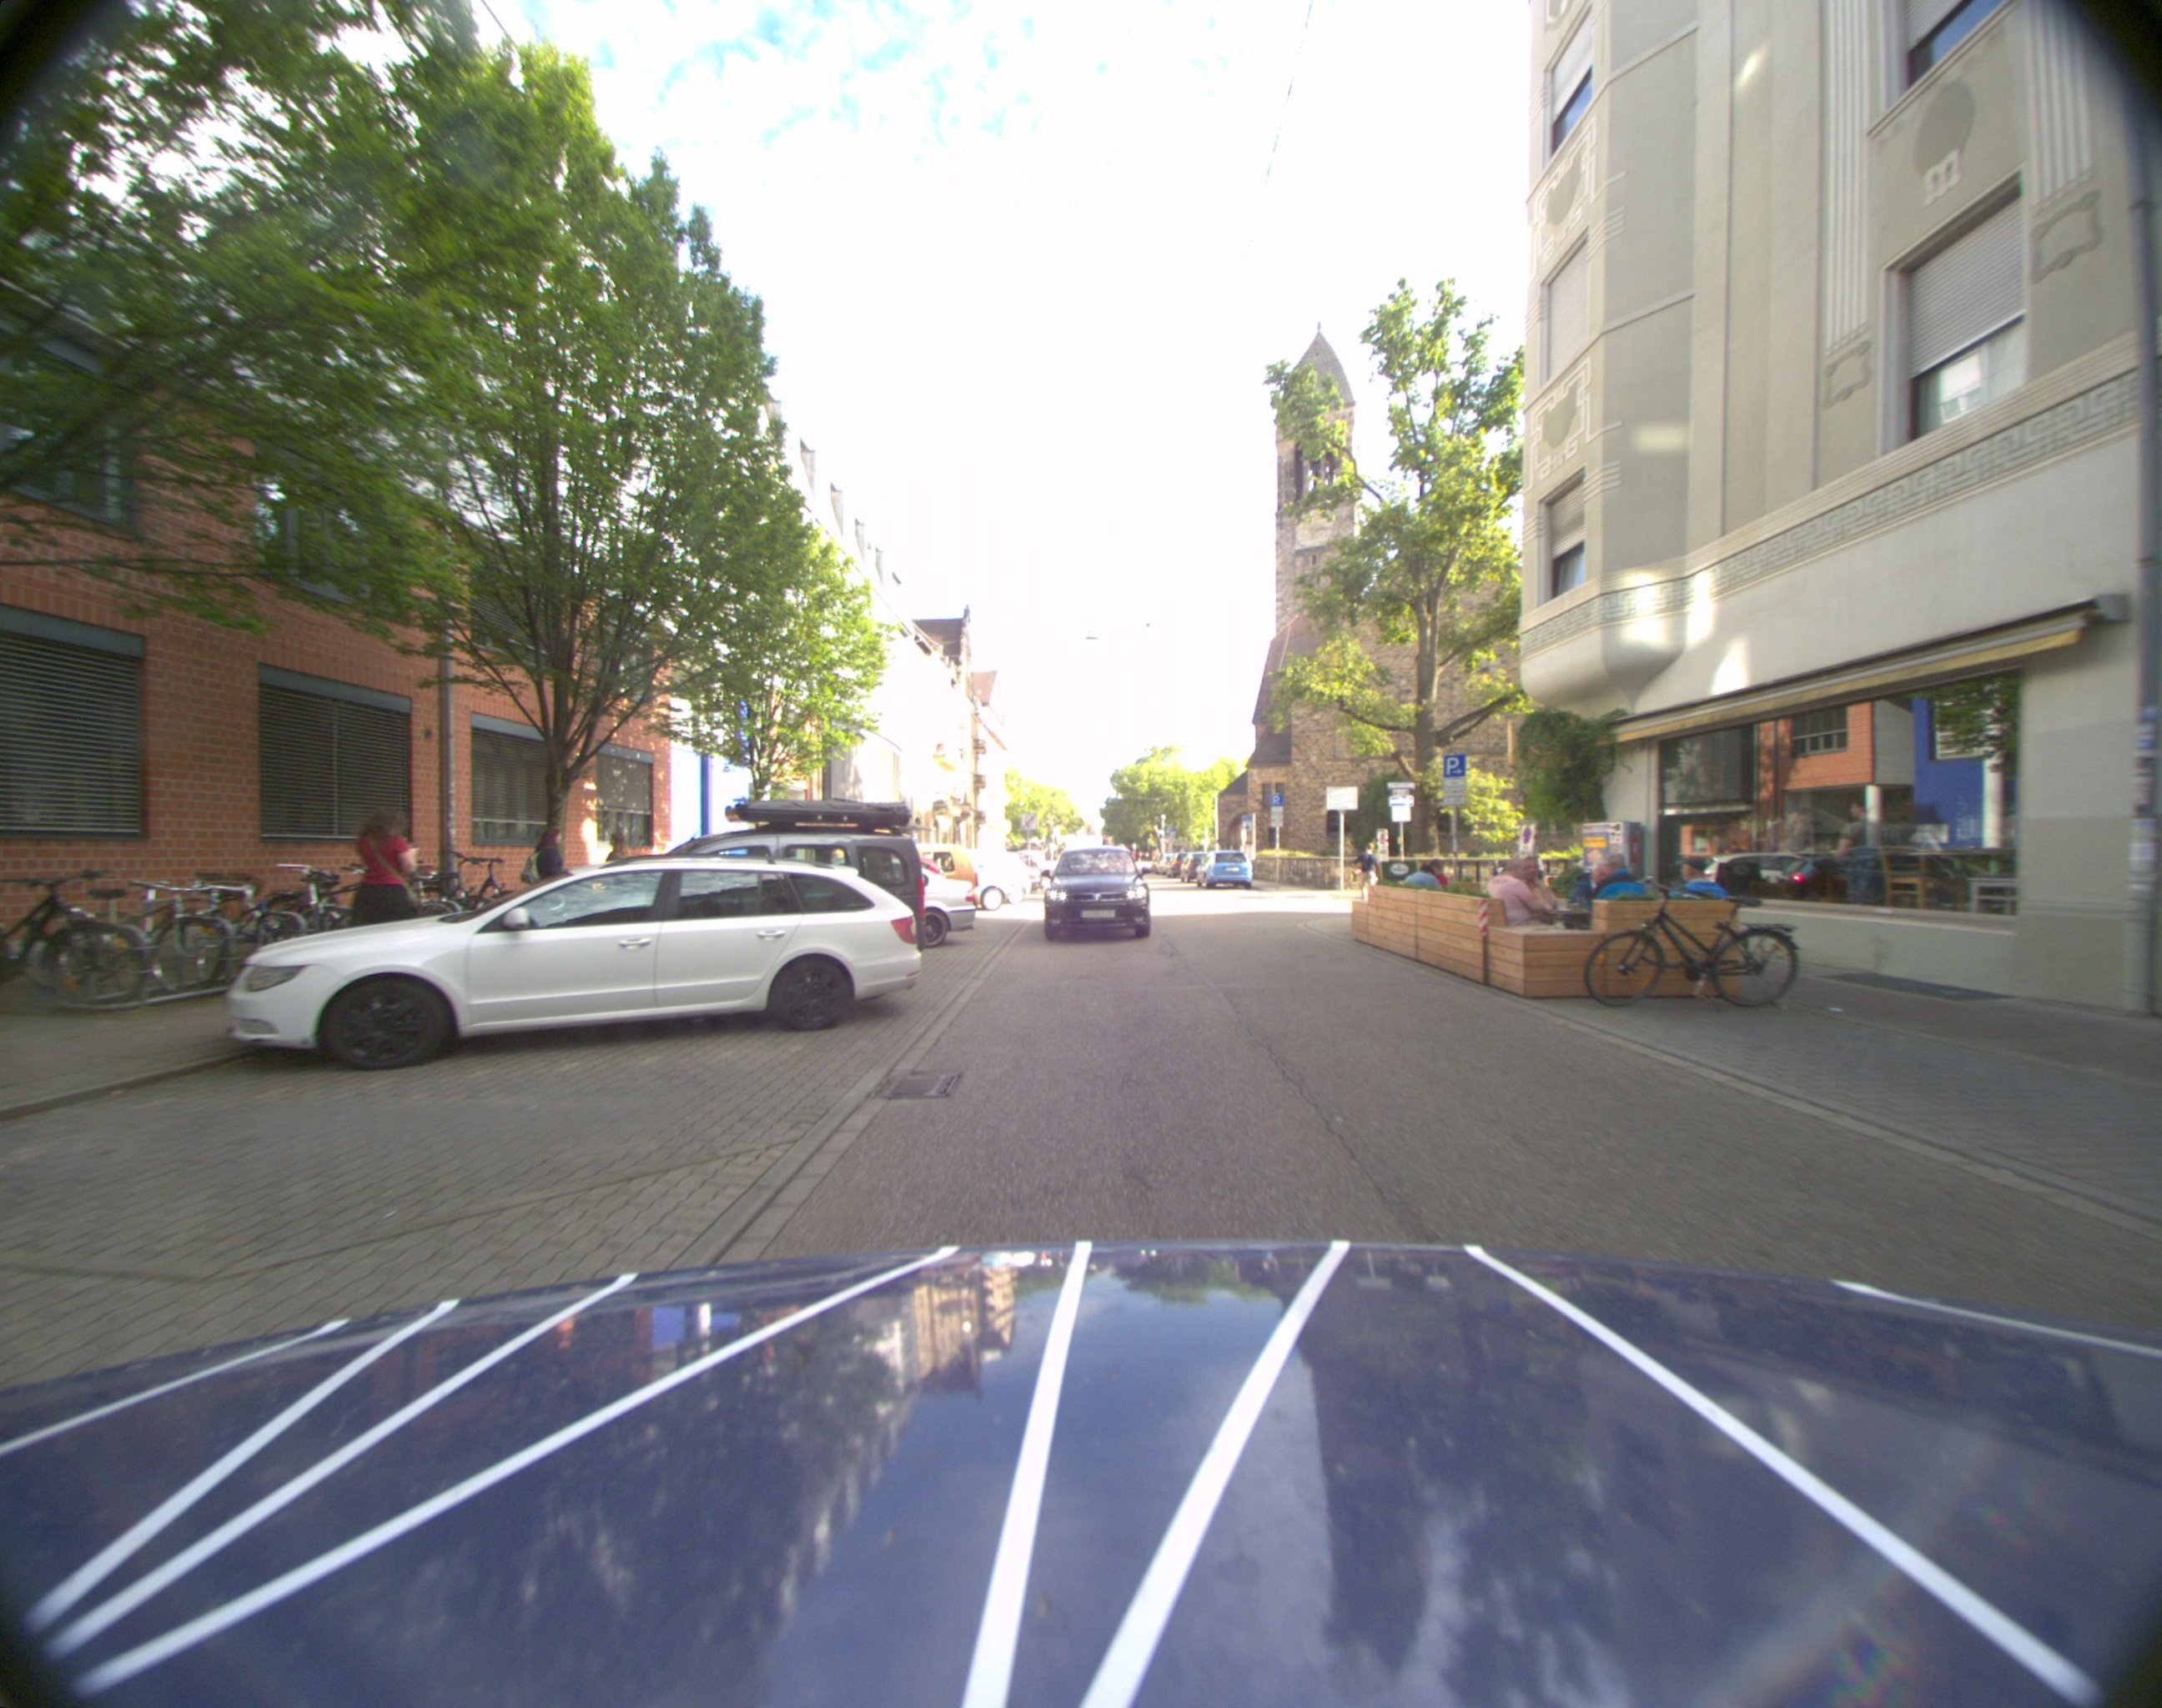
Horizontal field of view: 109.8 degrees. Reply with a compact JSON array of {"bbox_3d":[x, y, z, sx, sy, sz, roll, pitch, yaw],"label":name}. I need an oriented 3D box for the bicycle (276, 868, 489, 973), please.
[{"bbox_3d":[-8.333,0.775,9.115,1.896,1.096,0.618,3,1,-2],"label":"bicycle"}]

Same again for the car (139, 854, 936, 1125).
[{"bbox_3d":[-3.882,0.842,6.454,4.817,1.535,1.866,1,1,-31],"label":"car"}]

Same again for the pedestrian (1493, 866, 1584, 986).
[{"bbox_3d":[5.367,0.822,8.947,0.668,1.328,0.740,-1,1,8],"label":"pedestrian"}]

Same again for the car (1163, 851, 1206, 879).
[{"bbox_3d":[5.744,0.593,42.574,1.911,1.412,4.000,-1,1,1],"label":"car"}]

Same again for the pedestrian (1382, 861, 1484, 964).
[{"bbox_3d":[4.955,0.806,10.758,1.088,1.365,0.895,-1,1,9],"label":"pedestrian"}]

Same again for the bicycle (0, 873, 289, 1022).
[{"bbox_3d":[-8.249,0.788,6.650,1.896,1.125,0.618,3,1,-2],"label":"bicycle"}]

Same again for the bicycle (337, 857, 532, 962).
[{"bbox_3d":[-8.260,0.689,9.758,1.896,1.198,0.618,3,1,-2],"label":"bicycle"}]

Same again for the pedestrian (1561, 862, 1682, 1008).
[{"bbox_3d":[5.353,0.777,7.571,0.689,1.365,0.739,-1,1,4],"label":"pedestrian"}]

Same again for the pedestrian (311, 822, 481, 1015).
[{"bbox_3d":[-6.629,0.590,7.417,0.754,1.729,0.952,3,1,-4],"label":"pedestrian"}]

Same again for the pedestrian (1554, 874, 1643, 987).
[{"bbox_3d":[5.988,0.868,8.831,0.597,1.236,0.694,-1,1,8],"label":"pedestrian"}]

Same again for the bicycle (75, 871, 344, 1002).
[{"bbox_3d":[-8.267,0.767,7.250,1.887,1.112,0.537,2,1,-2],"label":"bicycle"}]

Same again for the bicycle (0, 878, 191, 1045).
[{"bbox_3d":[-8.285,0.796,5.906,1.921,1.134,0.618,3,1,-2],"label":"bicycle"}]

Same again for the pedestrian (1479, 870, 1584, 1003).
[{"bbox_3d":[4.814,0.858,8.158,0.738,1.341,0.644,-1,1,3],"label":"pedestrian"}]

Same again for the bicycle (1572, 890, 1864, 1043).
[{"bbox_3d":[5.350,0.930,6.468,1.872,1.168,0.688,-1,1,3],"label":"bicycle"}]

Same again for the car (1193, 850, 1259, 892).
[{"bbox_3d":[5.647,0.630,30.108,1.828,1.477,4.170,-1,1,1],"label":"car"}]

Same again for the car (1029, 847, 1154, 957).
[{"bbox_3d":[0.335,0.726,13.869,1.874,1.644,4.388,-1,1,5],"label":"car"}]

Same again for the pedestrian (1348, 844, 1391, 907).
[{"bbox_3d":[8.012,0.596,21.141,0.845,1.699,0.879,-1,1,1],"label":"pedestrian"}]

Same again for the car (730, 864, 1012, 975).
[{"bbox_3d":[-3.290,0.917,12.104,4.006,1.391,1.657,-2,1,-31],"label":"car"}]

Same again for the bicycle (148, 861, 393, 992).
[{"bbox_3d":[-8.314,0.724,7.847,1.782,1.198,0.618,3,1,-2],"label":"bicycle"}]

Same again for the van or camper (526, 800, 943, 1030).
[{"bbox_3d":[-3.921,0.527,8.994,4.006,2.166,1.995,-2,1,-29],"label":"van or camper"}]

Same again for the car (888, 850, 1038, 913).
[{"bbox_3d":[-3.521,0.751,22.855,4.006,1.663,1.923,-2,1,-31],"label":"car"}]

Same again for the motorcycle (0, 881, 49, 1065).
[{"bbox_3d":[-8.274,0.767,4.918,1.984,1.220,0.827,3,1,-1],"label":"motorcycle"}]

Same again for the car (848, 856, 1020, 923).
[{"bbox_3d":[-3.865,0.851,20.087,4.006,1.499,1.995,-2,1,-31],"label":"car"}]

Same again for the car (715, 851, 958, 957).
[{"bbox_3d":[-4.518,0.810,14.128,3.932,1.630,1.942,-2,1,-31],"label":"car"}]

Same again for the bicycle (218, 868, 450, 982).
[{"bbox_3d":[-8.288,0.774,8.482,1.896,1.113,0.618,3,1,-2],"label":"bicycle"}]

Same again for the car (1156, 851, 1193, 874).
[{"bbox_3d":[6.028,0.518,49.316,1.911,1.412,4.000,-1,1,1],"label":"car"}]

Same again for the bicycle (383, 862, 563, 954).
[{"bbox_3d":[-8.277,0.719,10.390,1.896,1.106,0.618,3,1,-2],"label":"bicycle"}]

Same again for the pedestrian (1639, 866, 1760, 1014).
[{"bbox_3d":[6.039,0.816,7.457,0.637,1.364,0.684,-1,1,4],"label":"pedestrian"}]

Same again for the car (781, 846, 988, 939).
[{"bbox_3d":[-4.307,0.745,16.763,4.006,1.751,1.908,-2,1,-31],"label":"car"}]

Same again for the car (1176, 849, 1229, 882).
[{"bbox_3d":[5.732,0.508,36.169,1.911,1.412,4.000,-1,1,1],"label":"car"}]
